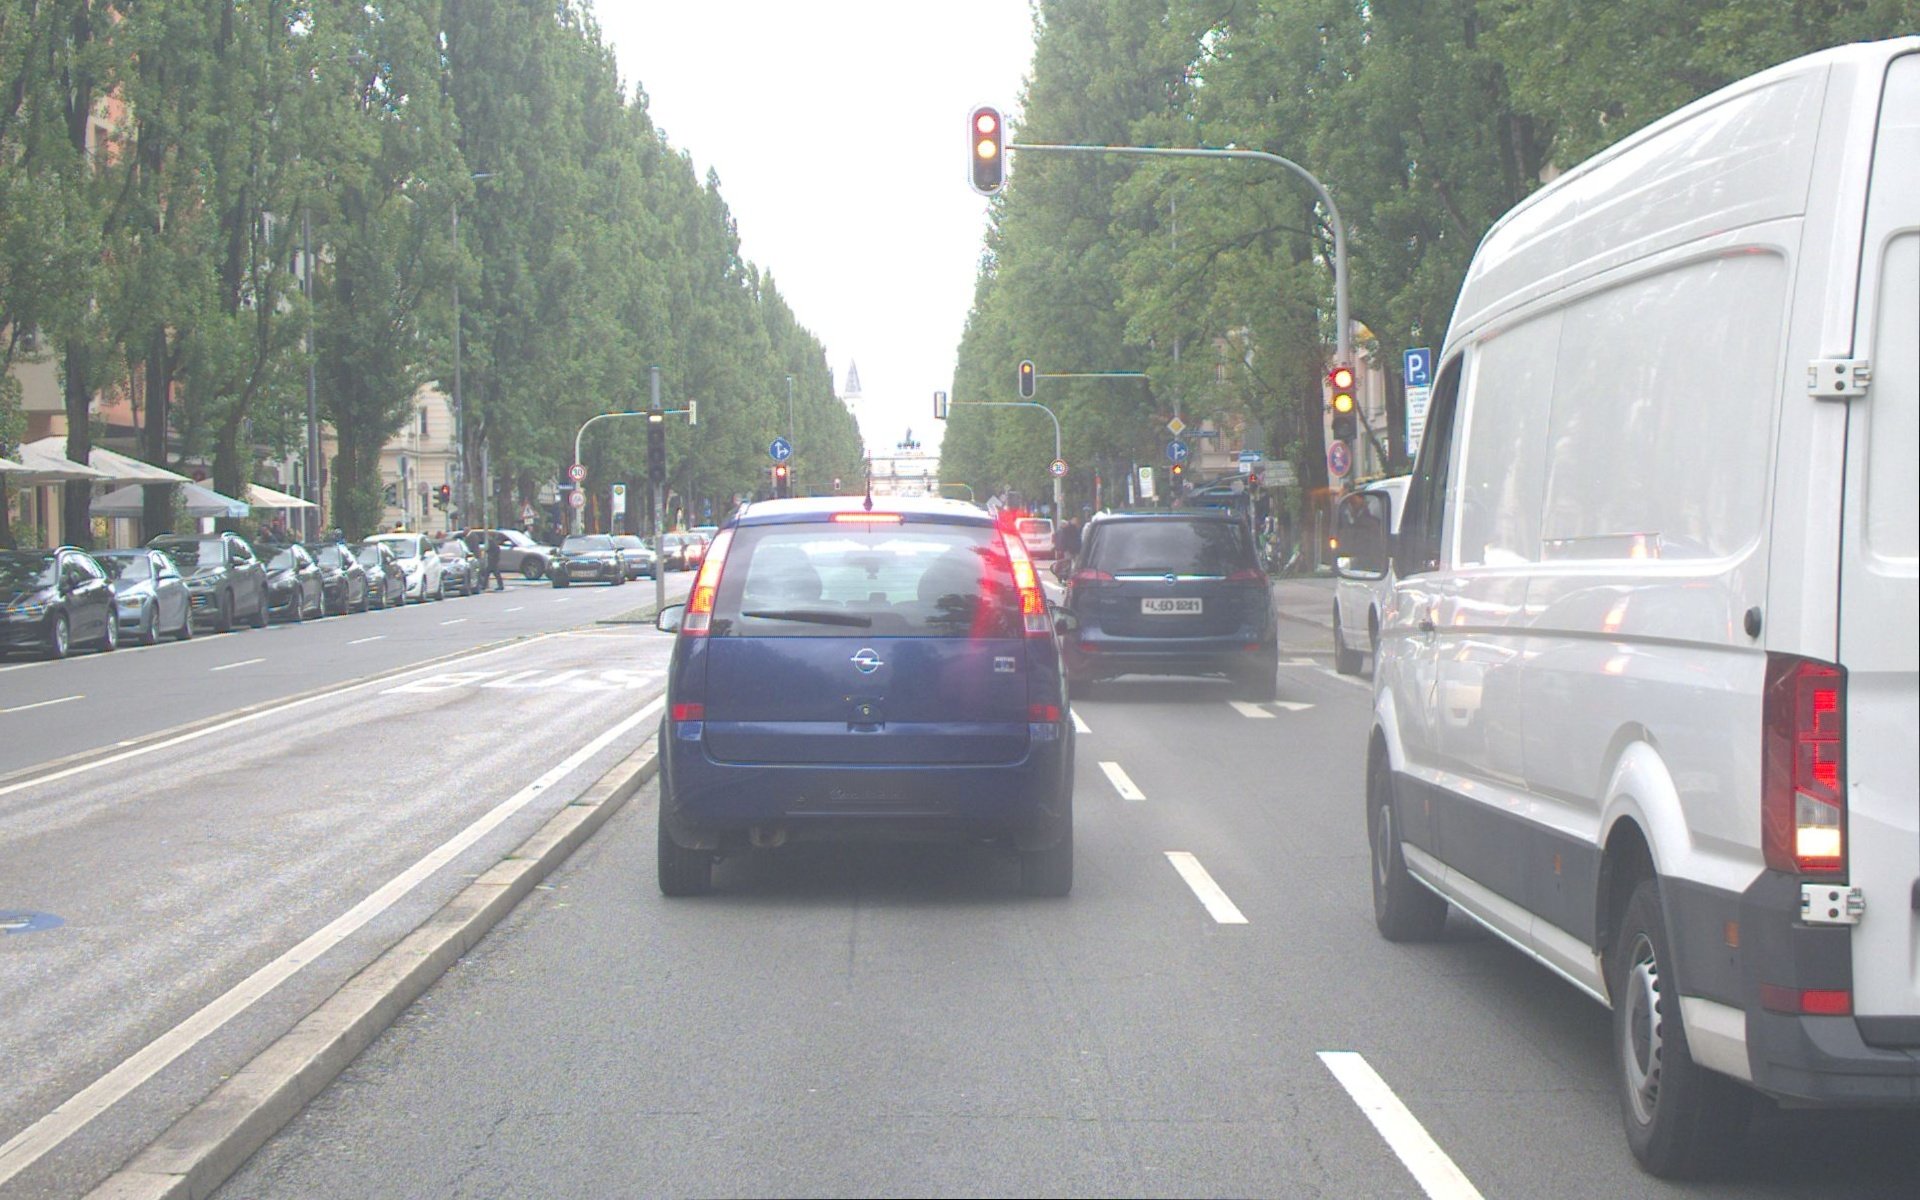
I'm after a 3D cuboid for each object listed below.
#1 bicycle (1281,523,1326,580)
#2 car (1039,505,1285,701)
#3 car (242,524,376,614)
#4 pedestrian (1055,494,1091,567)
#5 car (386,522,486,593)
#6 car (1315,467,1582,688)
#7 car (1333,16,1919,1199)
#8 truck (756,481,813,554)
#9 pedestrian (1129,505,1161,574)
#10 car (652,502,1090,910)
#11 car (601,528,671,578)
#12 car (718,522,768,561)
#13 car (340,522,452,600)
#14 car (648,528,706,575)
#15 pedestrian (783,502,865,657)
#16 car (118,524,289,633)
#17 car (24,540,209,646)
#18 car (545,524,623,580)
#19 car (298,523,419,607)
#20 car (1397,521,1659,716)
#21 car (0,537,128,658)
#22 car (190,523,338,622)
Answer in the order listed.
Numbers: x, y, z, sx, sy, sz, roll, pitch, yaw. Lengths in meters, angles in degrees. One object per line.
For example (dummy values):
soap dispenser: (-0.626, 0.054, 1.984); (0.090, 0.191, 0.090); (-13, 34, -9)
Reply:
bicycle: (8.339, -1.195, 83.567); (0.772, 1.344, 2.449); (-1, 1, -1)
car: (1.710, -0.025, 30.337); (1.896, 1.616, 4.000); (0, 1, -1)
car: (-12.877, -0.643, 68.195); (1.866, 1.660, 4.120); (-2, 1, -1)
pedestrian: (2.845, -1.748, 86.773); (0.719, 1.820, 0.888); (1, 1, -11)
car: (-13.124, -1.098, 86.254); (1.866, 1.660, 4.120); (-2, 1, -1)
car: (4.556, -0.255, 32.703); (1.787, 1.939, 4.731); (0, 1, -1)
car: (2.511, 0.045, 9.952); (2.063, 2.484, 6.731); (0, 1, -1)
truck: (-8.272, -3.898, 162.784); (2.383, 3.335, 7.111); (-1, 1, -1)
pedestrian: (4.942, -1.609, 91.703); (0.636, 1.820, 0.888); (1, 1, -11)
car: (-0.363, 0.359, 15.142); (1.671, 1.563, 4.000); (0, 1, -1)
car: (-9.978, -1.466, 106.086); (1.745, 1.429, 4.130); (-2, 1, -1)
car: (-8.398, -2.290, 133.308); (1.735, 1.460, 3.365); (-1, 1, -1)
car: (-12.925, -0.926, 78.981); (1.866, 1.660, 4.120); (-2, 1, -1)
car: (-10.571, -1.827, 128.611); (1.866, 1.660, 4.120); (-1, 1, -1)
pedestrian: (-1.489, -0.229, 37.627); (0.859, 1.678, 0.627); (-1, 1, -4)
car: (-12.531, -0.387, 57.195); (1.866, 1.660, 4.401); (-2, 1, -1)
car: (-12.552, -0.138, 51.391); (1.733, 1.421, 4.144); (-2, 1, -1)
car: (-10.590, -1.367, 96.981); (1.697, 1.457, 4.713); (-2, 1, -1)
car: (-12.860, -0.779, 73.721); (1.866, 1.660, 4.120); (-2, 1, -1)
car: (4.541, 0.107, 27.903); (1.541, 1.487, 3.523); (0, 1, 0)
car: (-12.496, -0.043, 45.731); (1.798, 1.483, 4.351); (-2, 1, -1)
car: (-12.735, -0.535, 63.135); (1.866, 1.660, 4.120); (-2, 1, -1)
